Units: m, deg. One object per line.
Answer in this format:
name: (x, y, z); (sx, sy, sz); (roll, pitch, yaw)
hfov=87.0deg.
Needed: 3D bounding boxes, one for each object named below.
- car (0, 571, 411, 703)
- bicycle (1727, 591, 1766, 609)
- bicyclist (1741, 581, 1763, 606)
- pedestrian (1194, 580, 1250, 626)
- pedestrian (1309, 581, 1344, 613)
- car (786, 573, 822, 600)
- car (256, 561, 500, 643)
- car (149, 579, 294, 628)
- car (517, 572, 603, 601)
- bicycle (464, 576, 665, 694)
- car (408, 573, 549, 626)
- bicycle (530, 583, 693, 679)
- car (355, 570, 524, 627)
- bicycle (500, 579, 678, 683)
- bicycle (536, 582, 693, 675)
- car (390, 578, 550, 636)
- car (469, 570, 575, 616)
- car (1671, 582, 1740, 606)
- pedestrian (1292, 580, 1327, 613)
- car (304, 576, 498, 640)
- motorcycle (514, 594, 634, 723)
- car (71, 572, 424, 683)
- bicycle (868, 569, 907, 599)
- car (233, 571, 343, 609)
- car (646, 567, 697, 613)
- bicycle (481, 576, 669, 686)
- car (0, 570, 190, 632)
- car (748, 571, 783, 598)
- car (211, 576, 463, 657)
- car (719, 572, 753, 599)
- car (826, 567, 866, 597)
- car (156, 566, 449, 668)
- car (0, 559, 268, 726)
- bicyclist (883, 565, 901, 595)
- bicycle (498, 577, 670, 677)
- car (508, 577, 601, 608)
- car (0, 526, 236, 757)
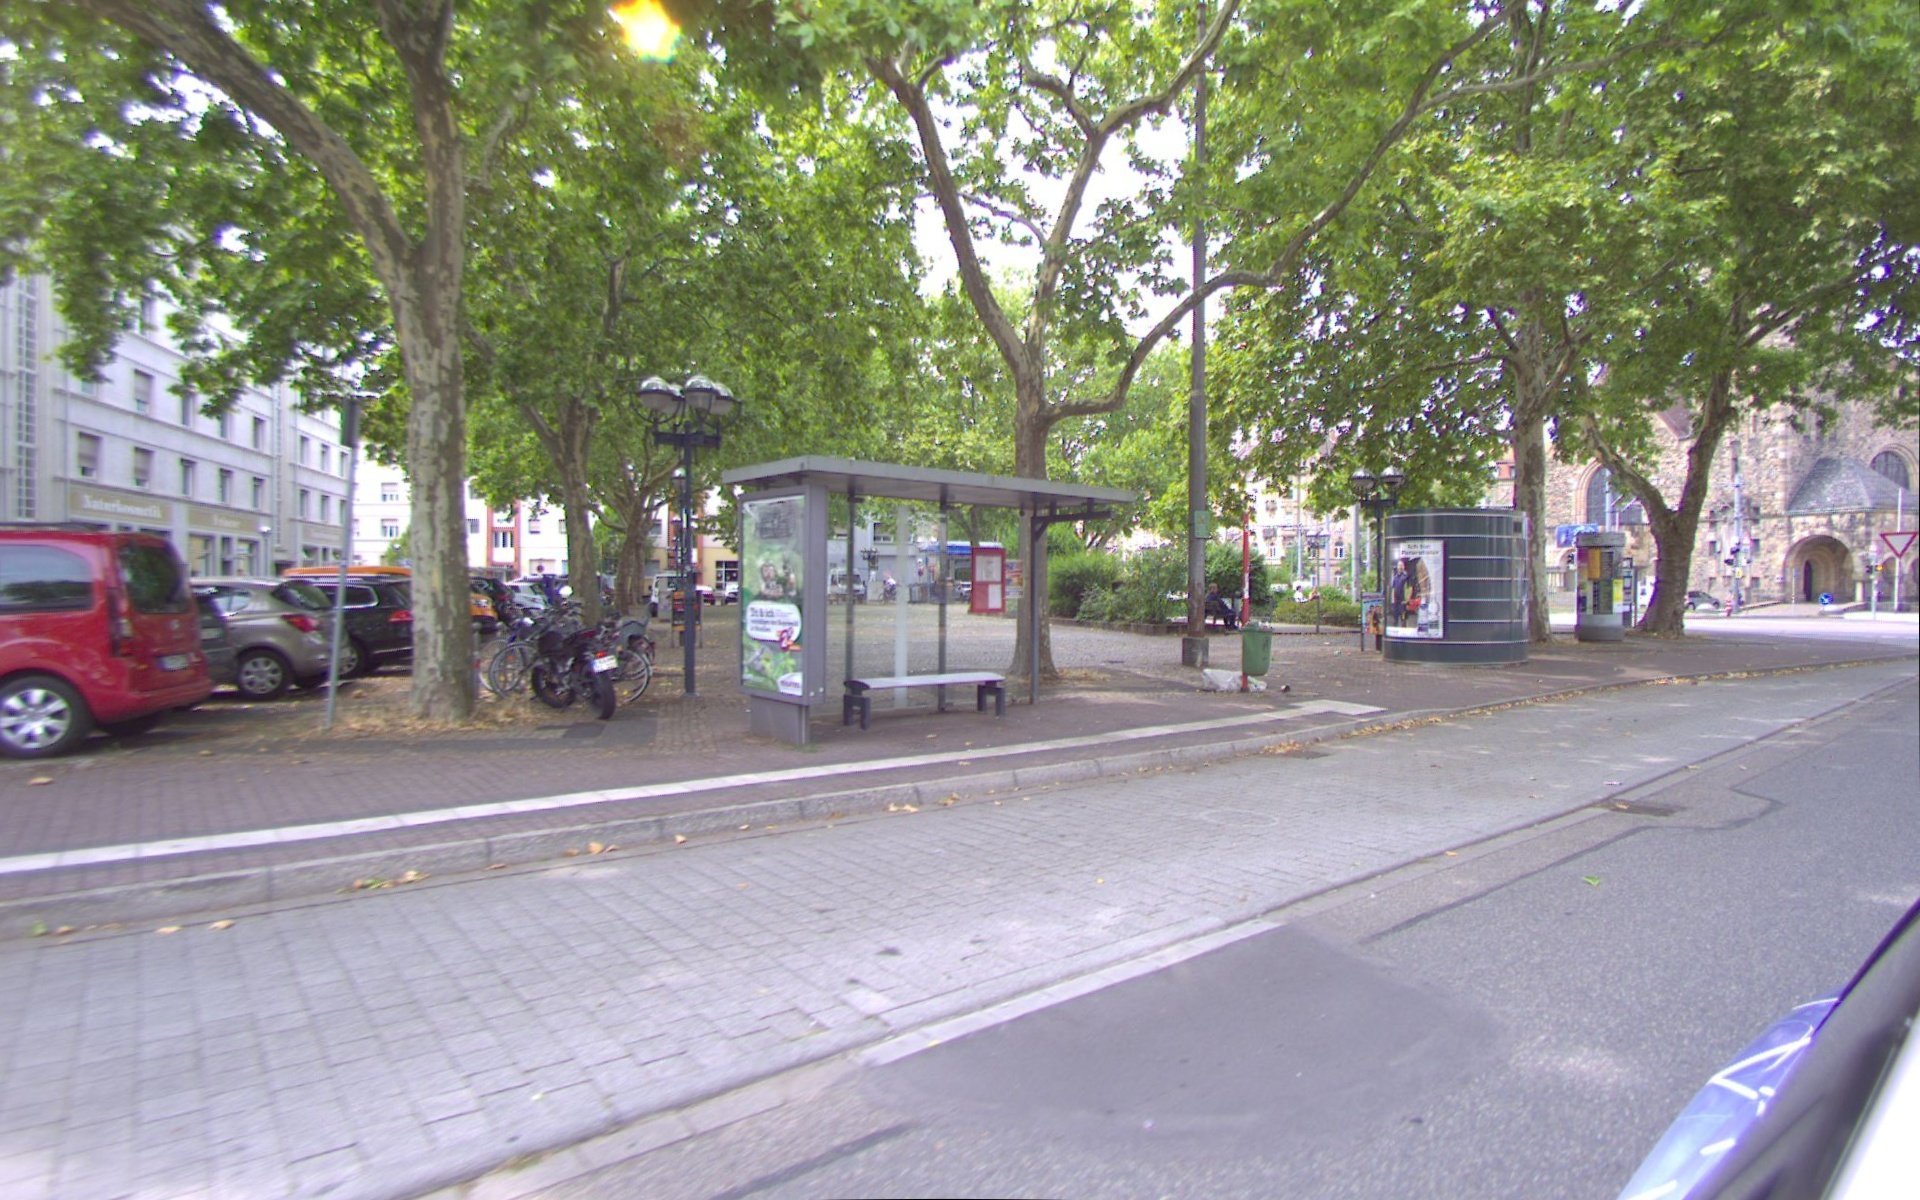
car: (-9.376, 0.394, 12.686); (4.096, 1.482, 1.755); (0, 1, -16)
bicycle: (48.427, -0.009, 62.316); (0.587, 1.099, 1.814); (0, -1, -29)
bicyclist: (48.567, -0.401, 62.068); (0.577, 1.516, 0.840); (0, -1, -29)
pedestrian: (7.248, 0.063, 28.055); (1.117, 1.228, 1.102); (0, 1, -15)
pedestrian: (15.493, -0.137, 42.769); (0.849, 1.334, 1.181); (1, 0, -18)
car: (-11.141, -0.967, 72.039); (1.958, 1.838, 4.009); (0, 1, -18)
car: (-12.889, 0.008, 22.757); (4.464, 1.716, 2.004); (0, 1, -20)
car: (-27.360, 0.085, 37.657); (3.916, 1.749, 2.004); (0, 1, -18)
car: (-21.957, -0.746, 55.691); (4.018, 1.502, 2.003); (0, 1, -6)
bicycle: (-4.909, 0.436, 12.653); (2.264, 1.395, 0.421); (2, 0, -8)
car: (-15.627, -0.025, 33.073); (3.916, 1.660, 2.004); (0, 1, -19)
bicycle: (-5.176, 0.449, 15.101); (2.264, 1.395, 0.421); (0, 1, -8)
car: (-14.159, -0.064, 27.796); (3.916, 1.482, 2.004); (0, 1, -20)
bicycle: (-5.070, 0.415, 13.926); (2.264, 1.395, 0.421); (0, 1, -8)
bicycle: (-5.327, 0.426, 15.695); (2.264, 1.395, 0.421); (0, 1, -8)
car: (-14.506, 0.176, 30.254); (4.116, 1.638, 2.004); (0, 1, -20)
car: (-17.912, -0.301, 41.579); (3.916, 1.838, 1.922); (0, 1, -21)
car: (54.047, -0.455, 73.358); (3.916, 1.671, 2.004); (0, 1, -16)
pedestrian: (14.633, -0.154, 42.388); (0.849, 1.334, 1.181); (1, 0, -18)
car: (-13.705, 0.162, 25.090); (3.916, 1.482, 2.004); (0, 1, -20)
motorcycle: (-4.101, 0.563, 10.672); (0.522, 1.238, 1.856); (1, 0, -42)
car: (-10.377, 0.338, 15.138); (3.916, 1.482, 2.004); (0, 1, -20)
bicycle: (-4.200, -0.926, 58.309); (2.159, 1.727, 0.717); (1, 0, 23)
car: (-31.464, -0.477, 47.487); (3.916, 1.749, 2.004); (0, 1, -18)
car: (-12.333, -0.436, 43.312); (1.958, 1.838, 4.342); (0, 1, -16)
bicycle: (-5.018, 0.404, 13.283); (2.264, 1.395, 0.421); (1, 0, -8)
car: (-25.527, 0.007, 29.967); (3.916, 1.749, 2.004); (0, 1, -18)
car: (-13.717, -1.091, 71.254); (1.958, 1.838, 4.009); (0, 1, -18)
car: (-12.145, 0.265, 20.058); (3.916, 1.482, 2.004); (0, 1, -20)
car: (-15.709, -1.019, 70.813); (1.958, 1.838, 4.009); (0, 1, -18)
car: (-8.387, -1.310, 74.127); (1.958, 2.134, 4.036); (0, 1, -20)
car: (-11.208, 0.235, 17.618); (3.916, 1.619, 2.004); (0, 1, -20)
car: (-9.630, 0.384, 10.310); (3.916, 1.571, 1.837); (0, 1, -20)
bicyclist: (-3.920, -1.143, 58.203); (0.858, 1.674, 0.557); (1, 0, 25)
bicycle: (-5.369, 0.391, 14.541); (2.264, 1.395, 0.421); (1, 0, -8)
car: (-20.775, -0.392, 51.972); (4.018, 1.502, 2.003); (0, 1, -6)
car: (-8.609, 0.300, 8.071); (4.240, 1.727, 1.943); (0, 1, -20)
